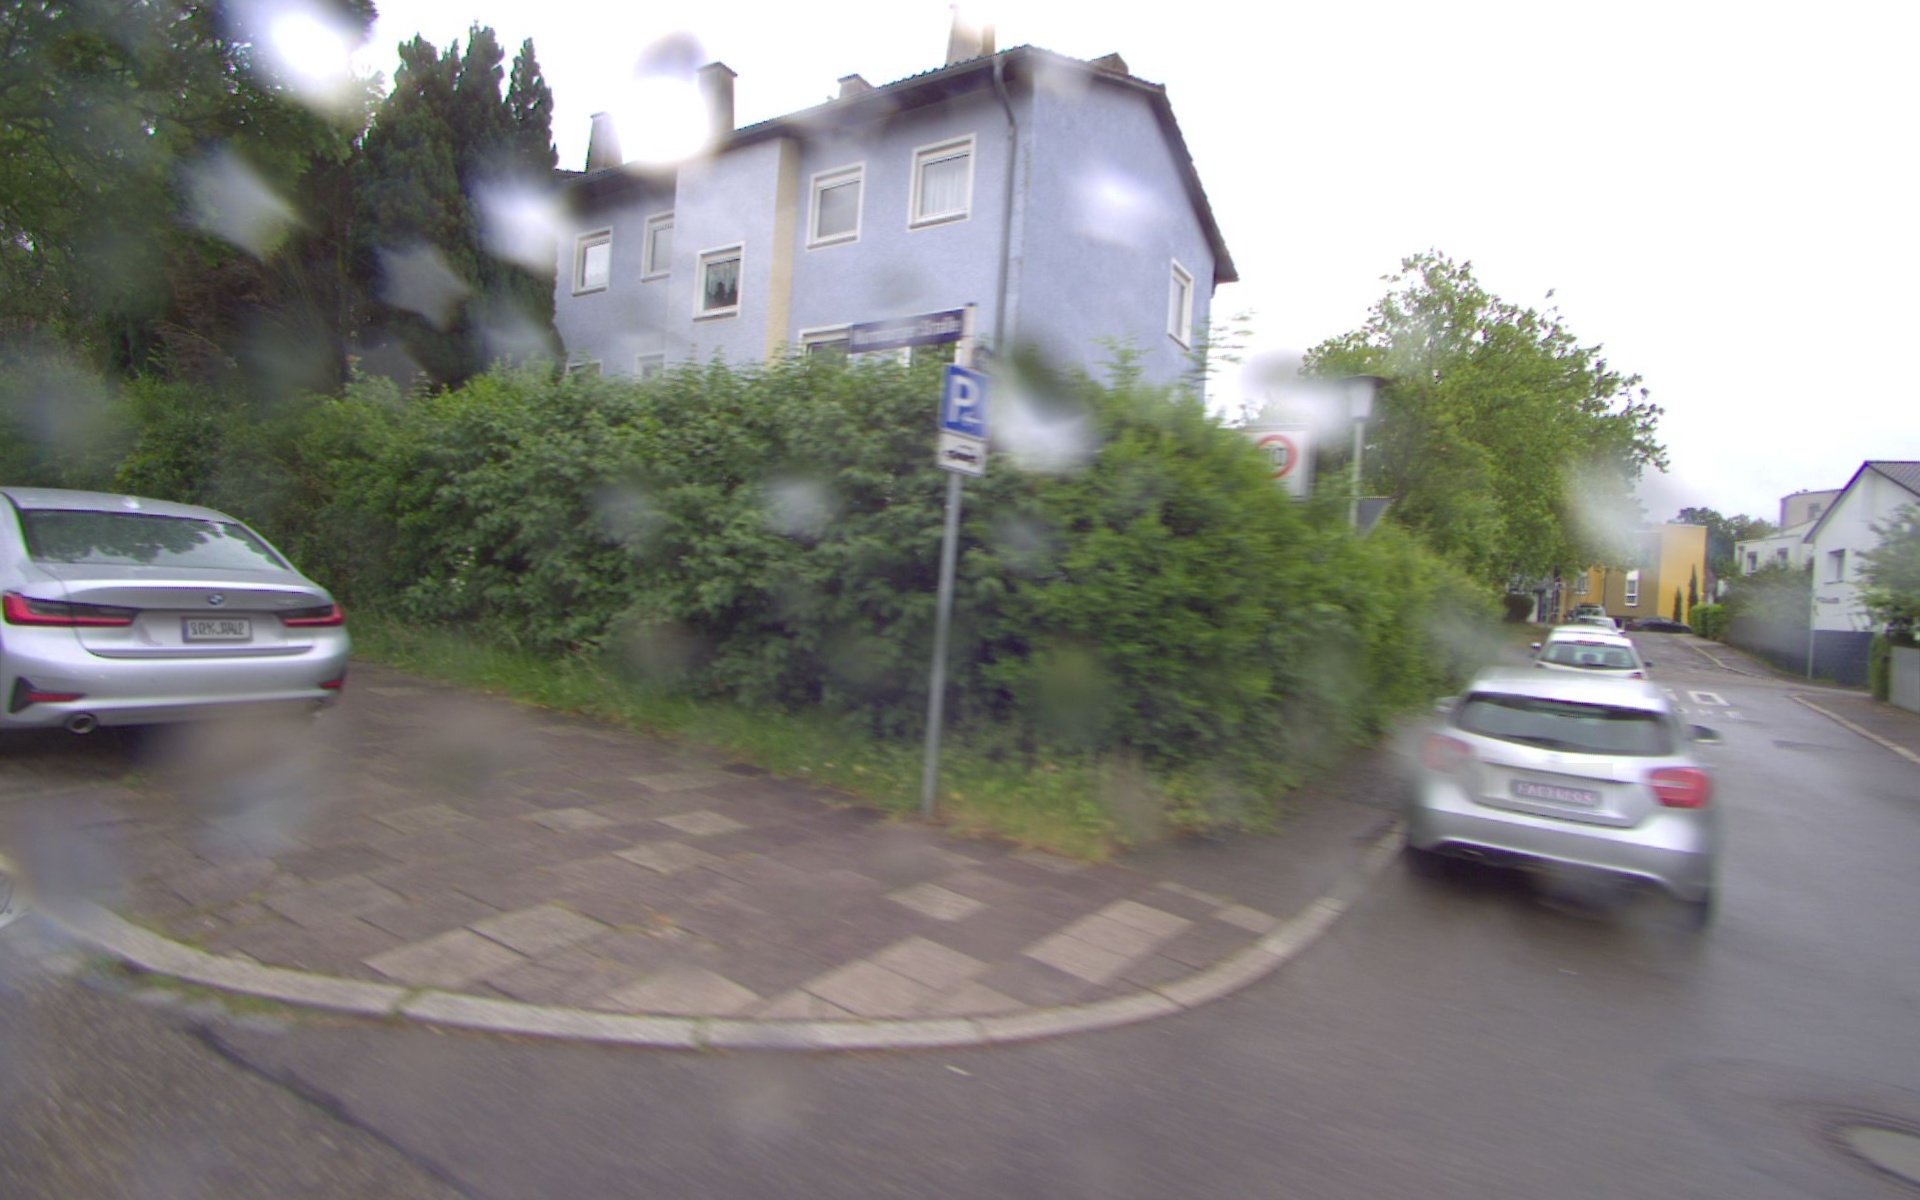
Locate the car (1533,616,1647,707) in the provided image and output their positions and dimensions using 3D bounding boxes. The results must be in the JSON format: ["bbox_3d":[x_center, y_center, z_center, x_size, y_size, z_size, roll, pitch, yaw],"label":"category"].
[{"bbox_3d":[13.572,1.228,21.590,1.700,1.534,3.767,8,5,35],"label":"car"}]

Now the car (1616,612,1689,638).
[{"bbox_3d":[52.614,1.891,76.511,3.924,1.470,2.001,8,0,6],"label":"car"}]

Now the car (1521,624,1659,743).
[{"bbox_3d":[10.546,1.283,16.742,1.585,1.533,3.532,8,4,35],"label":"car"}]

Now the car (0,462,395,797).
[{"bbox_3d":[-5.846,-0.008,6.563,4.516,1.542,1.799,6,1,32],"label":"car"}]

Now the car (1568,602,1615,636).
[{"bbox_3d":[34.105,1.030,54.312,1.701,1.532,3.769,8,2,37],"label":"car"}]

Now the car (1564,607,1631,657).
[{"bbox_3d":[24.698,1.186,38.918,1.701,1.589,3.765,8,5,37],"label":"car"}]

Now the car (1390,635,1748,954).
[{"bbox_3d":[4.612,1.159,7.618,1.700,1.533,3.770,7,3,34],"label":"car"}]
